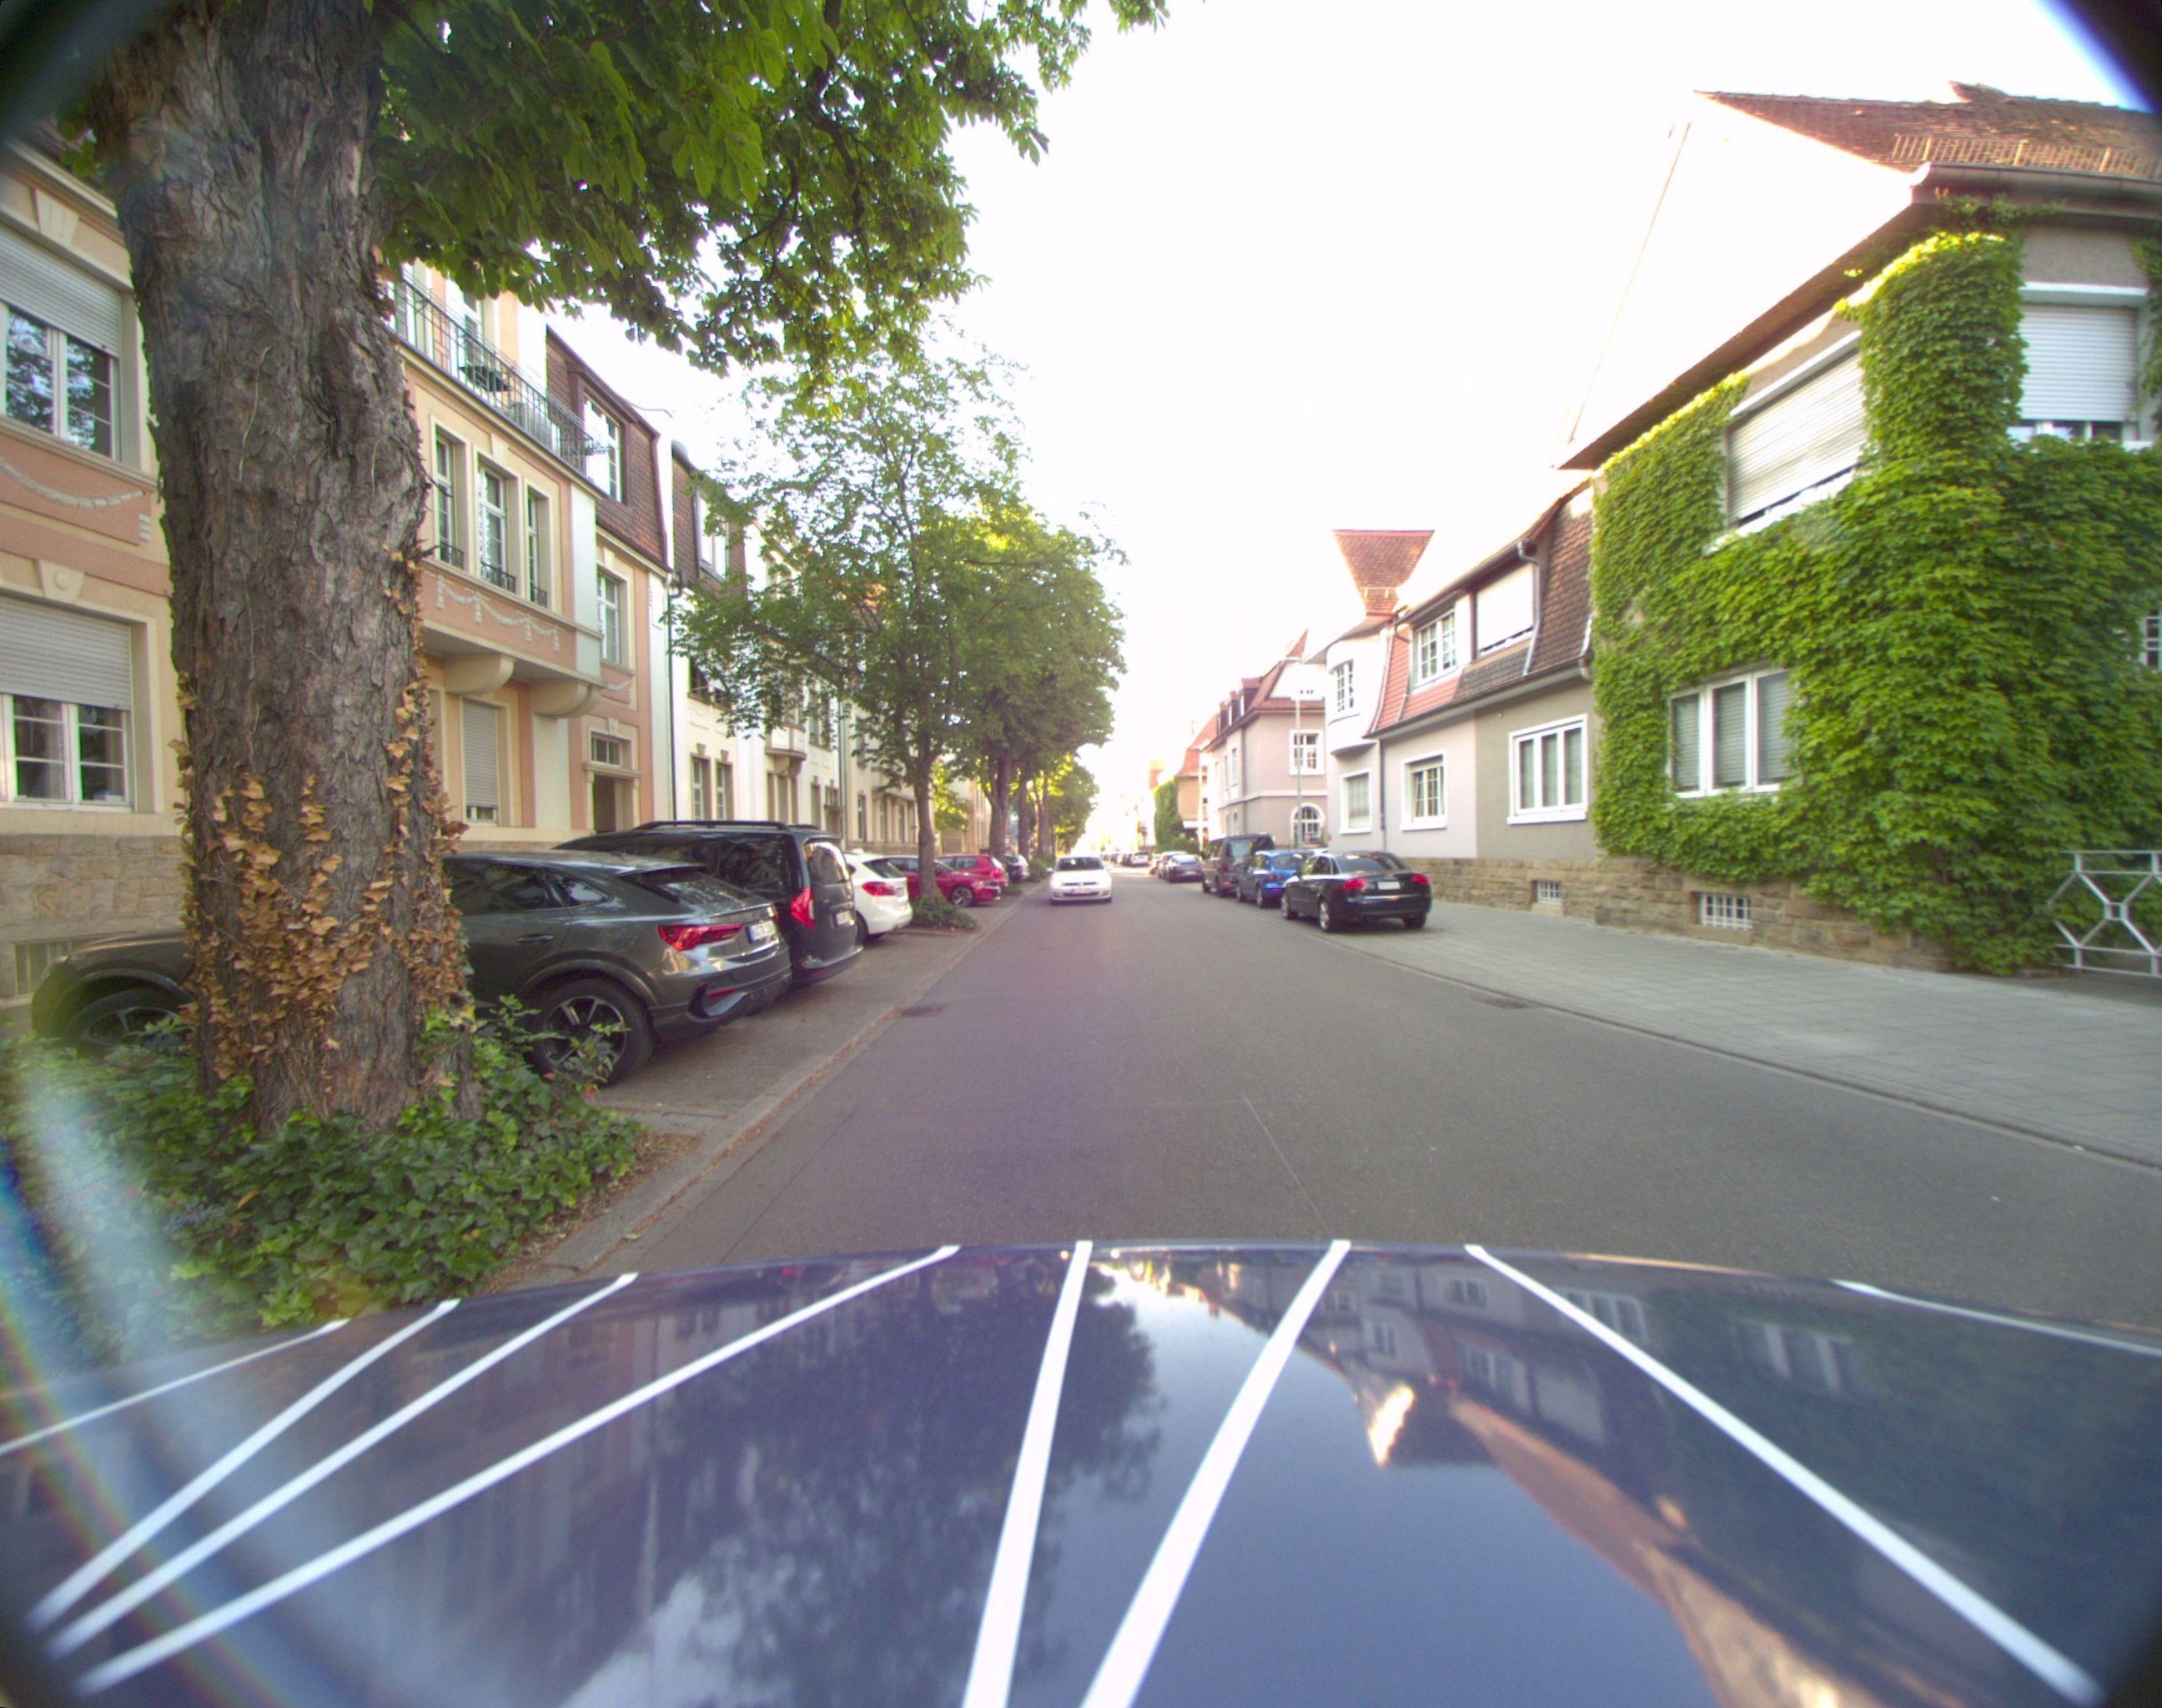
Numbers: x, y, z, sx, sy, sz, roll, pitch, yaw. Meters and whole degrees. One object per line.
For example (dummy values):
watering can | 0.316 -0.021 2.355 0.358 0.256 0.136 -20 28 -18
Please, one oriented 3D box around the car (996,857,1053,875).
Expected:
car | -3.508 0.736 47.646 3.399 1.057 1.542 0 1 2

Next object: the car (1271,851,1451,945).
car | 5.141 0.710 14.658 1.806 1.438 4.428 -3 0 0

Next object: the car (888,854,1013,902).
car | -4.132 0.758 24.470 3.680 1.473 1.659 0 1 3

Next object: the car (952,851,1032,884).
car | -4.273 0.633 36.844 3.680 1.548 1.576 0 1 2

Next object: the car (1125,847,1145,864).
car | 5.345 0.142 75.275 1.699 1.520 3.677 -3 1 2

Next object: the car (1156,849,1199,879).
car | 5.292 0.523 42.148 1.932 1.458 4.062 -3 1 2

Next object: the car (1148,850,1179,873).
car | 5.448 0.491 50.387 1.662 1.354 3.677 -3 1 2

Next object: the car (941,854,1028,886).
car | -4.307 0.723 34.330 3.680 1.390 1.576 0 1 2

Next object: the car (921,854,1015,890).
car | -4.671 0.719 31.714 3.680 1.457 1.576 0 1 2

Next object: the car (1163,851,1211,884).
car | 5.069 0.612 36.671 1.932 1.376 4.063 -3 0 4

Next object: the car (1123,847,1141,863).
car | 5.447 0.085 80.767 1.699 1.520 3.677 -3 1 2

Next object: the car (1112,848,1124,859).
car | 5.562 -0.116 115.866 1.699 1.520 3.677 -3 1 2

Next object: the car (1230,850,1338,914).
car | 5.287 0.658 20.347 1.768 1.438 4.062 -3 1 0

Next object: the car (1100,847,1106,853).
car | 5.862 -0.973 202.673 1.699 1.520 3.677 -3 1 2

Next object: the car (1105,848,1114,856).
car | 5.589 -0.434 149.124 1.699 1.520 3.677 -3 1 2

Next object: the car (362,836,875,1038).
car | -4.430 0.742 7.836 4.121 1.827 1.844 0 1 -2

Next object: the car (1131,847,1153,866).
car | 5.431 0.174 68.010 1.699 1.558 3.677 -3 1 2

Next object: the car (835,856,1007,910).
car | -4.527 0.806 21.942 4.530 1.443 1.868 0 1 3

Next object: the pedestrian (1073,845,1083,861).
pedestrian | -0.402 -0.102 92.068 1.119 1.927 1.097 -3 1 -1

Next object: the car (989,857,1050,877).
car | -3.557 0.742 44.440 3.399 1.143 1.542 0 1 2

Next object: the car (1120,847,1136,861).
car | 5.575 -0.019 91.013 1.699 1.520 3.677 -3 1 2

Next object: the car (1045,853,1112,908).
car | -0.031 0.736 23.135 1.819 1.454 4.072 -2 0 1

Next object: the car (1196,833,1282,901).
car | 5.153 0.368 25.358 1.842 1.964 4.612 -3 1 0

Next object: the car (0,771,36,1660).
car | -4.588 0.772 0.526 4.763 1.864 1.896 0 1 -4

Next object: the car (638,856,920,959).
car | -4.824 0.821 12.536 3.950 1.568 1.719 0 1 0

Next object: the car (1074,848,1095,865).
car | 0.363 0.186 70.779 1.819 1.454 4.072 -2 0 1

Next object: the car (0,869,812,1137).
car | -4.533 0.898 5.511 4.522 1.514 1.844 0 1 -4
